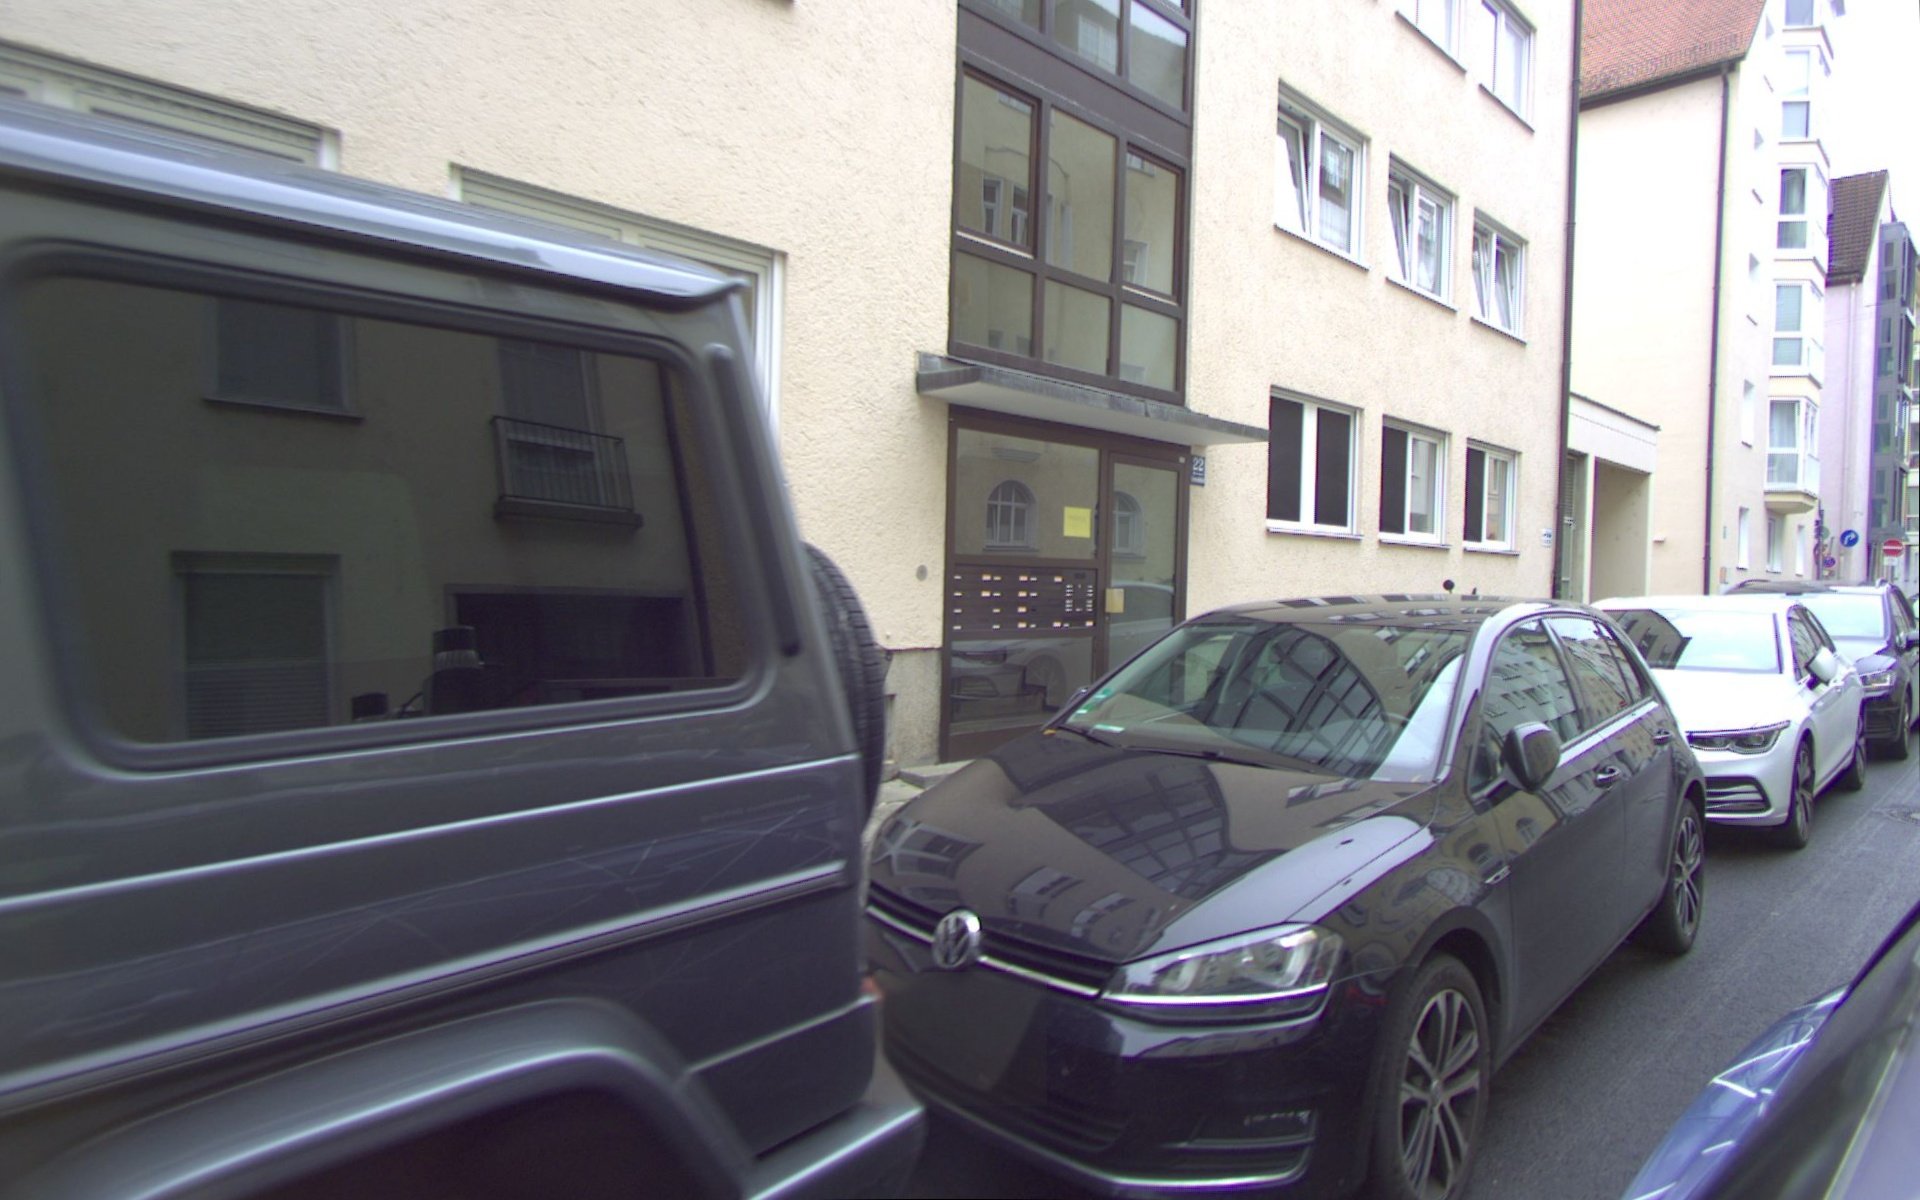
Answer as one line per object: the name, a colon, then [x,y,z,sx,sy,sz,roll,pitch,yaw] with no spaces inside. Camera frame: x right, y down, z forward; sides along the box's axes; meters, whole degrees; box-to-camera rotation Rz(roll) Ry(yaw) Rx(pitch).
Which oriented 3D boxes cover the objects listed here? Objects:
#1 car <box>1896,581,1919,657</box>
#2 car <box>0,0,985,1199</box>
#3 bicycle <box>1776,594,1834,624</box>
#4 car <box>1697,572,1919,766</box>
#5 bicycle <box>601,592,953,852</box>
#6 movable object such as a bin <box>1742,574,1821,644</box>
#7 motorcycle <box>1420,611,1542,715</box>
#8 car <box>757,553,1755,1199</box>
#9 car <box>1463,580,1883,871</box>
car: [20.802,0.358,21.059,4.457,1.490,1.718,-1,1,-44]
car: [-2.100,0.439,0.713,4.270,2.001,1.752,0,-1,-44]
bicycle: [28.852,0.311,34.565,1.448,0.959,0.543,2,2,45]
car: [9.026,0.540,10.496,1.711,1.628,4.177,1,1,44]
bicycle: [-0.924,0.549,5.398,1.730,1.119,0.656,-1,6,-42]
movable object such as a bin: [18.155,0.166,22.358,1.559,1.440,1.034,-1,4,-41]
motorcycle: [5.684,0.644,10.993,1.879,0.979,0.482,0,6,-42]
car: [1.498,0.633,3.761,4.174,1.504,1.713,-1,1,-44]
car: [5.323,0.614,7.318,4.174,1.504,1.713,-1,1,-44]
